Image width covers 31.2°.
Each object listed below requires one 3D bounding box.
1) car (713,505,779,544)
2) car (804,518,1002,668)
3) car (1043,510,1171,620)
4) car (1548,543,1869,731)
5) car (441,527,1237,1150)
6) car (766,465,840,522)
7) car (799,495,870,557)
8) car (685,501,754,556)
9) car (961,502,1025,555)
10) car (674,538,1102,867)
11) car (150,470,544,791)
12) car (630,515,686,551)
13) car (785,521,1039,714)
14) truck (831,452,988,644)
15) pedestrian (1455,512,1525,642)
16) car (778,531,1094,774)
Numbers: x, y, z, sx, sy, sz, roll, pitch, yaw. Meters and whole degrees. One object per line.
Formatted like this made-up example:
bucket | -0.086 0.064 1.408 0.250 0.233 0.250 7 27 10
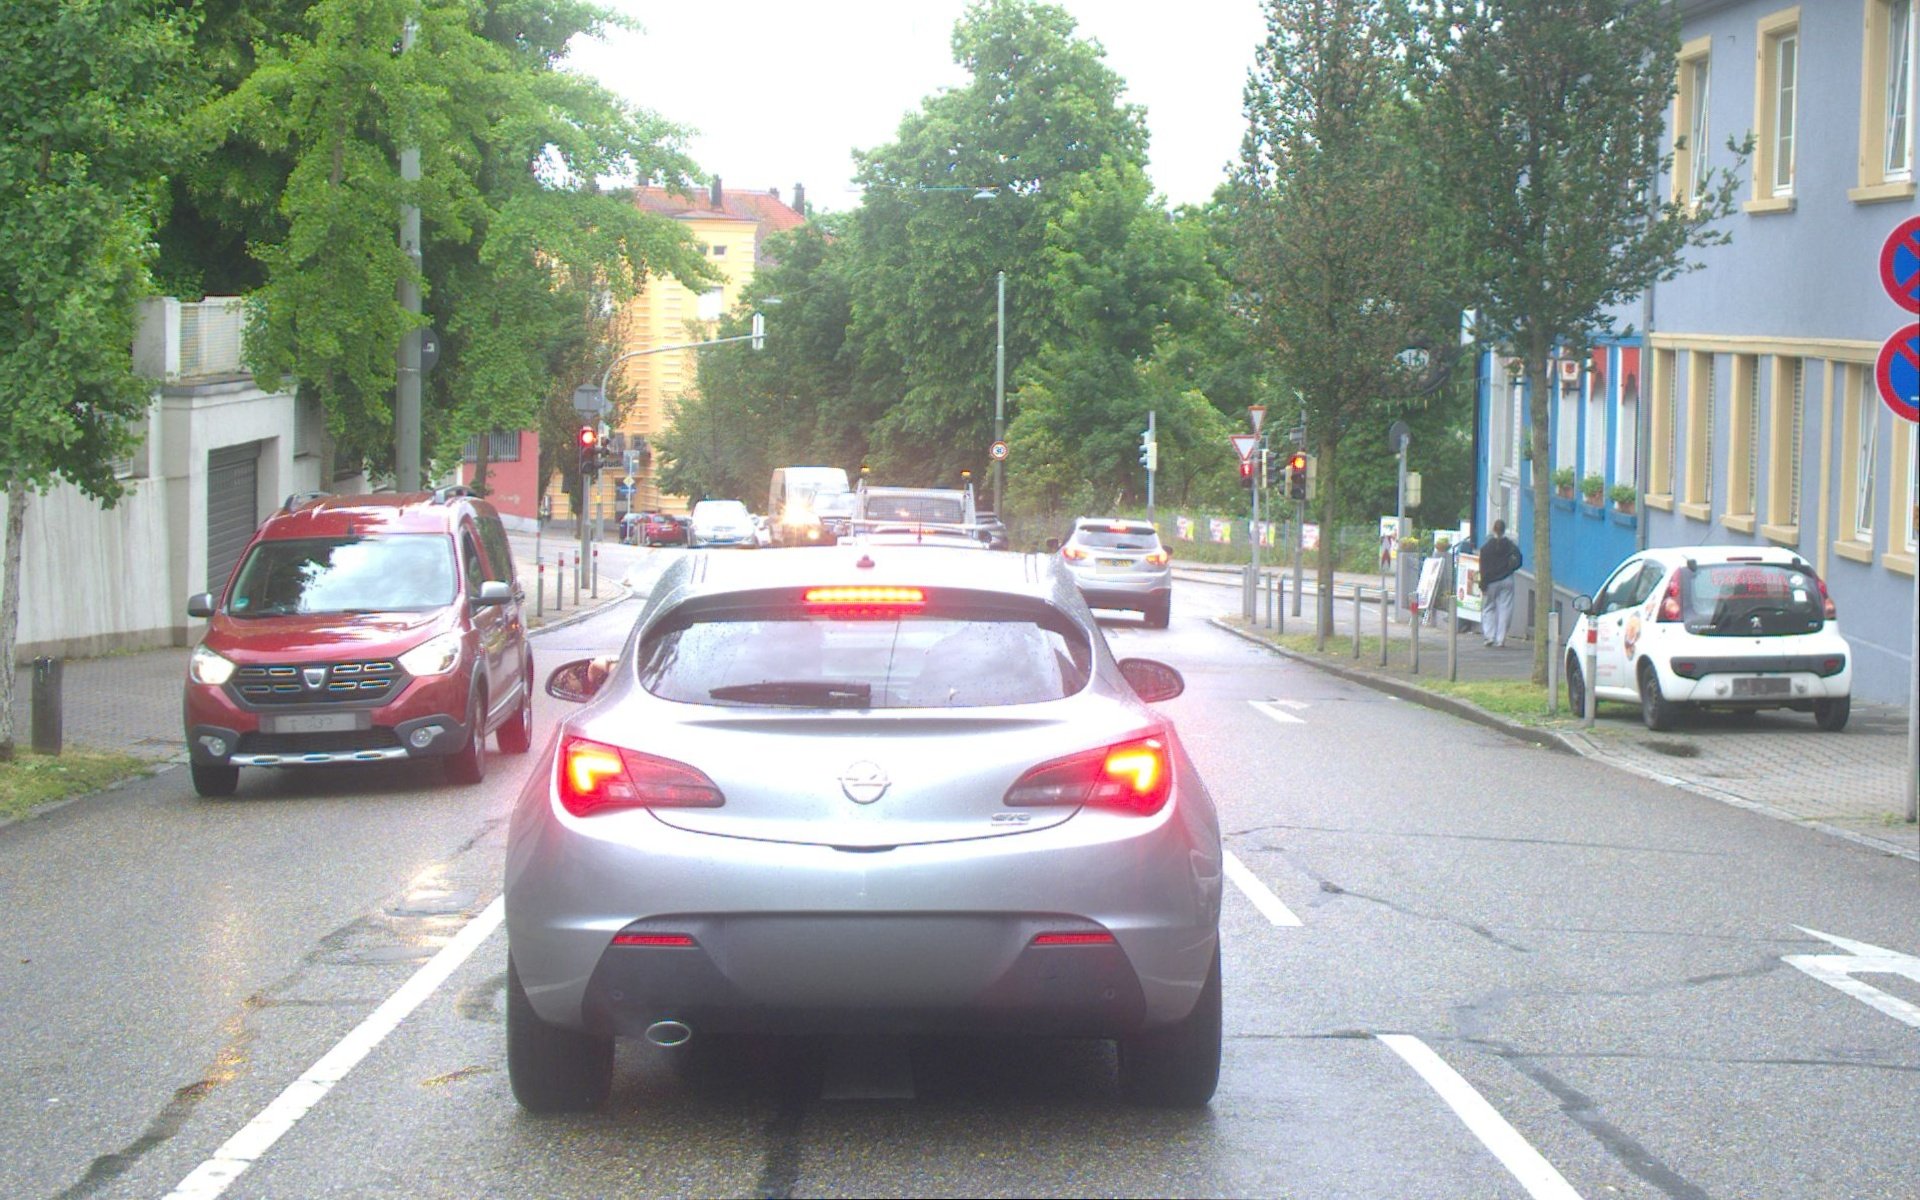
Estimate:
car | -8.688 -3.056 139.331 1.722 1.538 3.881 0 1 -18
car | -0.640 -0.123 37.101 1.962 1.443 4.306 2 1 -2
car | 2.327 -0.583 55.128 1.722 1.708 3.880 0 1 -2
car | 6.156 0.256 28.702 1.722 1.443 3.880 0 1 -2
car | -0.362 0.522 9.970 1.837 1.429 3.880 1 1 -2
car | -4.608 -3.080 100.222 1.722 1.632 3.881 0 1 -9
car | -3.373 -1.992 92.602 1.870 1.632 3.880 0 1 -2
car | -6.478 -1.939 92.932 1.722 1.455 3.880 0 1 -2
car | 1.026 -2.270 108.894 1.722 1.632 3.880 0 1 -4
car | -0.402 0.446 18.343 1.962 1.443 4.306 2 1 -2
car | -3.790 0.143 21.973 1.746 1.822 4.459 -1 1 -1
car | -13.892 -3.094 158.101 1.722 1.632 3.881 0 1 -18
car | -0.444 0.094 29.442 1.962 1.443 4.306 2 1 -2
truck | -0.729 -0.737 47.093 1.962 2.420 4.936 2 1 -2
pedestrian | 7.151 -0.315 46.413 0.783 1.723 0.651 2 1 0
car | -0.214 0.294 24.064 1.962 1.443 4.306 2 1 -2
